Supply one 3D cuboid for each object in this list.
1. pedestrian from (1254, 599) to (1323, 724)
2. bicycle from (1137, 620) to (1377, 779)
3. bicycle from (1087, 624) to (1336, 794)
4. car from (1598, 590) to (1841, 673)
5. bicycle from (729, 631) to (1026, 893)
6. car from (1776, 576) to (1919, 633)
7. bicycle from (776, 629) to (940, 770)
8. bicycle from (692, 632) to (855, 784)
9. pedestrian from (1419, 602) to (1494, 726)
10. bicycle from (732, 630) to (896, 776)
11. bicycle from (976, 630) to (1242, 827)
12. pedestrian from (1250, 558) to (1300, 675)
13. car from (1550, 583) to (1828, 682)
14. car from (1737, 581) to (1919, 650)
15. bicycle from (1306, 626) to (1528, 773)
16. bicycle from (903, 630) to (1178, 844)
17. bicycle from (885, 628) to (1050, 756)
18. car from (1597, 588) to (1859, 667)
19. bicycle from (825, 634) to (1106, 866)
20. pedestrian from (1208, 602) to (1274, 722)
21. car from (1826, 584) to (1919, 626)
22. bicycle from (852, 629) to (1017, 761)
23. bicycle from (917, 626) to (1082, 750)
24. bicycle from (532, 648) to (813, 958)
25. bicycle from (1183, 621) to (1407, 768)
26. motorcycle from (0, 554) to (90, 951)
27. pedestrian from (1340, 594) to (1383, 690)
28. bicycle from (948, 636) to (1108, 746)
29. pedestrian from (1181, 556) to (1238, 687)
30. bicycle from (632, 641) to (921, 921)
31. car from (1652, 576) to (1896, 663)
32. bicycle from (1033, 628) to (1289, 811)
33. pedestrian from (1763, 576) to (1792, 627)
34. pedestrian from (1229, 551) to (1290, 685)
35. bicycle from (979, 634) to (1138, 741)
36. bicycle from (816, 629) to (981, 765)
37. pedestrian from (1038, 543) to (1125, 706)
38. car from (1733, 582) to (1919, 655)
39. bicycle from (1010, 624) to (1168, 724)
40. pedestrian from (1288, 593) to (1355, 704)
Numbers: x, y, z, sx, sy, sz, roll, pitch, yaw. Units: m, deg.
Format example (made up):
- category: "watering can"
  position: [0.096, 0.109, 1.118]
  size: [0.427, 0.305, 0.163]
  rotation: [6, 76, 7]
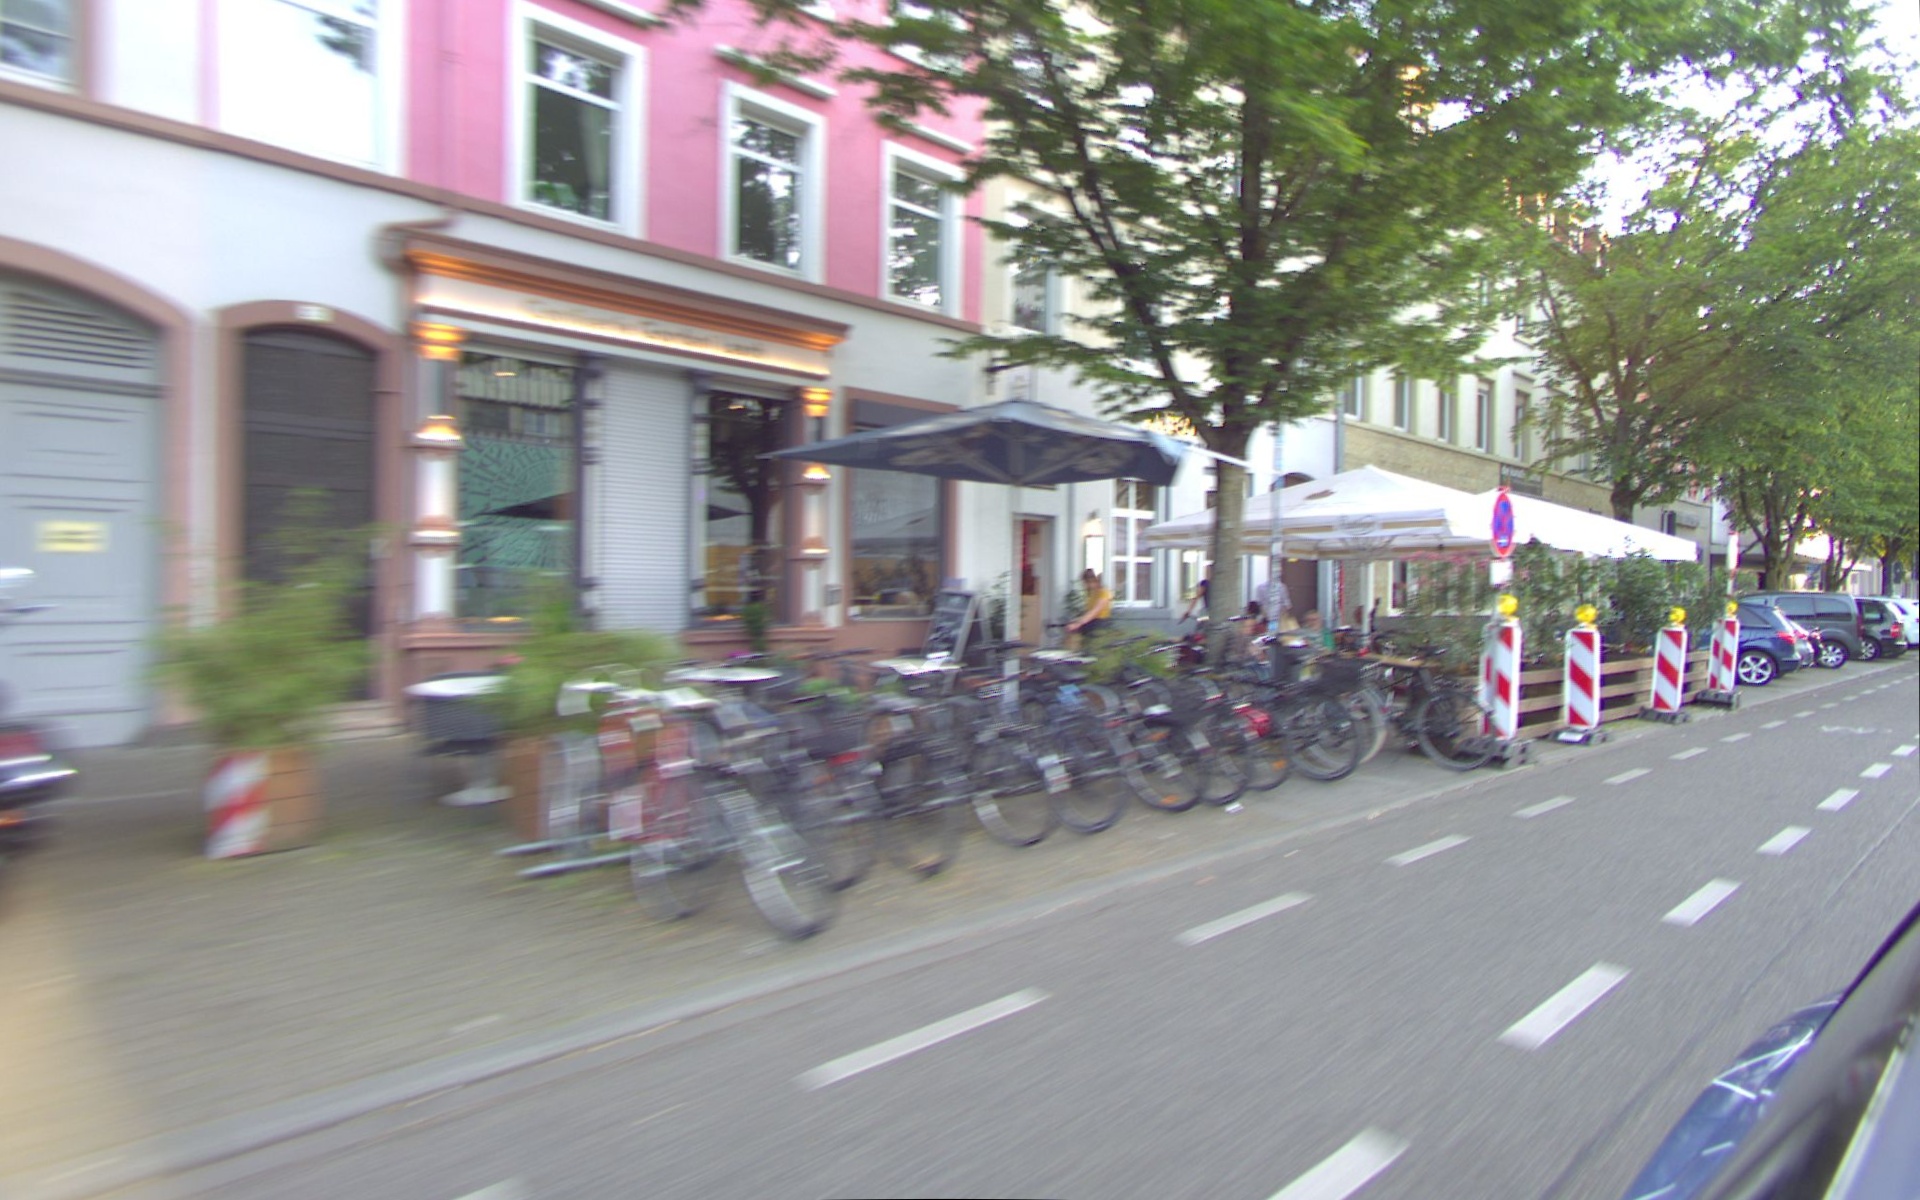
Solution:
- category: "pedestrian"
  position: [3.574, 0.642, 11.015]
  size: [0.590, 1.308, 0.502]
  rotation: [0, 0, -43]
- category: "bicycle"
  position: [2.468, 0.779, 8.621]
  size: [0.598, 1.044, 1.890]
  rotation: [0, 4, -42]
- category: "bicycle"
  position: [1.958, 0.804, 8.138]
  size: [0.598, 1.044, 1.890]
  rotation: [0, 4, -42]
- category: "car"
  position: [15.554, 0.587, 20.990]
  size: [3.751, 1.425, 1.689]
  rotation: [3, 2, 29]
- category: "bicycle"
  position: [-0.549, 0.814, 5.813]
  size: [0.663, 1.080, 1.890]
  rotation: [0, 4, -42]
- category: "car"
  position: [34.169, 0.173, 38.172]
  size: [4.943, 1.849, 2.183]
  rotation: [4, 3, 32]
- category: "bicycle"
  position: [-0.890, 0.768, 8.349]
  size: [0.320, 0.883, 1.819]
  rotation: [1, 4, -42]
- category: "bicycle"
  position: [-1.488, 0.778, 7.804]
  size: [0.320, 0.883, 1.819]
  rotation: [1, 4, -42]
- category: "pedestrian"
  position: [5.436, 0.681, 11.086]
  size: [0.588, 1.309, 0.504]
  rotation: [0, -1, -35]
- category: "bicycle"
  position: [-1.210, 0.768, 8.075]
  size: [0.320, 0.883, 1.819]
  rotation: [1, 4, -42]
- category: "bicycle"
  position: [0.993, 0.829, 7.214]
  size: [0.598, 1.044, 1.890]
  rotation: [0, 4, -42]
- category: "pedestrian"
  position: [4.967, 0.253, 15.932]
  size: [0.696, 1.785, 0.710]
  rotation: [0, 0, 22]
- category: "car"
  position: [13.600, 0.533, 19.178]
  size: [3.933, 1.572, 1.692]
  rotation: [3, 2, 25]
- category: "car"
  position: [26.266, 0.425, 30.117]
  size: [1.973, 1.708, 4.659]
  rotation: [1, 3, -41]
- category: "bicycle"
  position: [4.033, 0.832, 9.042]
  size: [0.547, 1.044, 1.682]
  rotation: [0, 4, -42]
- category: "bicycle"
  position: [0.463, 0.815, 6.705]
  size: [0.598, 1.044, 1.890]
  rotation: [0, 4, -42]
- category: "bicycle"
  position: [0.020, 0.780, 9.114]
  size: [0.320, 0.883, 1.819]
  rotation: [1, 4, -42]
- category: "car"
  position: [17.140, 0.564, 22.855]
  size: [4.270, 1.406, 1.795]
  rotation: [3, 2, 20]
- category: "bicycle"
  position: [-0.037, 0.828, 6.277]
  size: [0.598, 1.044, 1.890]
  rotation: [0, 4, -42]
- category: "pedestrian"
  position: [3.179, 0.682, 11.449]
  size: [0.590, 1.308, 0.502]
  rotation: [0, 0, -44]
- category: "car"
  position: [41.596, 0.235, 45.049]
  size: [4.109, 1.684, 1.834]
  rotation: [3, 2, 16]
- category: "bicycle"
  position: [-0.268, 0.781, 8.870]
  size: [0.320, 0.883, 1.819]
  rotation: [1, 4, -42]
- category: "bicycle"
  position: [0.318, 0.769, 9.343]
  size: [0.320, 0.883, 1.819]
  rotation: [1, 4, -42]
- category: "bicycle"
  position: [-1.489, 0.863, 4.975]
  size: [0.524, 1.044, 1.907]
  rotation: [0, 4, -42]
- category: "bicycle"
  position: [2.959, 0.788, 9.110]
  size: [0.598, 1.044, 1.819]
  rotation: [0, 4, -42]
- category: "motorcycle"
  position: [-4.546, 0.547, 4.526]
  size: [0.951, 1.479, 2.226]
  rotation: [0, 2, -42]
- category: "pedestrian"
  position: [5.713, 0.578, 14.403]
  size: [0.546, 1.323, 0.710]
  rotation: [0, 0, 22]
- category: "bicycle"
  position: [0.596, 0.822, 9.598]
  size: [0.320, 0.883, 1.818]
  rotation: [0, 1, -41]
- category: "pedestrian"
  position: [3.547, 0.291, 14.368]
  size: [0.548, 1.785, 0.843]
  rotation: [0, 0, 32]
- category: "bicycle"
  position: [-1.044, 0.839, 5.357]
  size: [0.581, 1.044, 1.866]
  rotation: [0, 4, -42]
- category: "car"
  position: [19.574, 0.396, 24.602]
  size: [4.112, 1.829, 1.994]
  rotation: [3, 2, 22]
- category: "bicycle"
  position: [1.457, 0.827, 7.666]
  size: [0.598, 1.044, 1.890]
  rotation: [0, 4, -42]
- category: "pedestrian"
  position: [33.301, 0.057, 41.237]
  size: [0.772, 2.009, 0.693]
  rotation: [1, 3, -41]
- category: "pedestrian"
  position: [4.133, 0.241, 13.948]
  size: [0.551, 1.785, 0.704]
  rotation: [0, -1, 44]
- category: "bicycle"
  position: [0.918, 0.817, 9.896]
  size: [0.320, 0.883, 1.818]
  rotation: [0, 1, -41]
- category: "bicycle"
  position: [-0.568, 0.777, 8.608]
  size: [0.320, 0.883, 1.819]
  rotation: [1, 4, -42]
- category: "pedestrian"
  position: [1.397, 0.264, 11.618]
  size: [0.878, 1.785, 0.551]
  rotation: [0, 0, -41]
- category: "car"
  position: [24.518, 0.482, 28.067]
  size: [4.652, 1.708, 1.975]
  rotation: [5, 3, 45]
- category: "bicycle"
  position: [1.280, 0.717, 10.364]
  size: [0.381, 0.883, 1.818]
  rotation: [0, 1, -41]
- category: "pedestrian"
  position: [4.390, 0.567, 12.303]
  size: [0.495, 1.308, 0.599]
  rotation: [0, 0, -39]
